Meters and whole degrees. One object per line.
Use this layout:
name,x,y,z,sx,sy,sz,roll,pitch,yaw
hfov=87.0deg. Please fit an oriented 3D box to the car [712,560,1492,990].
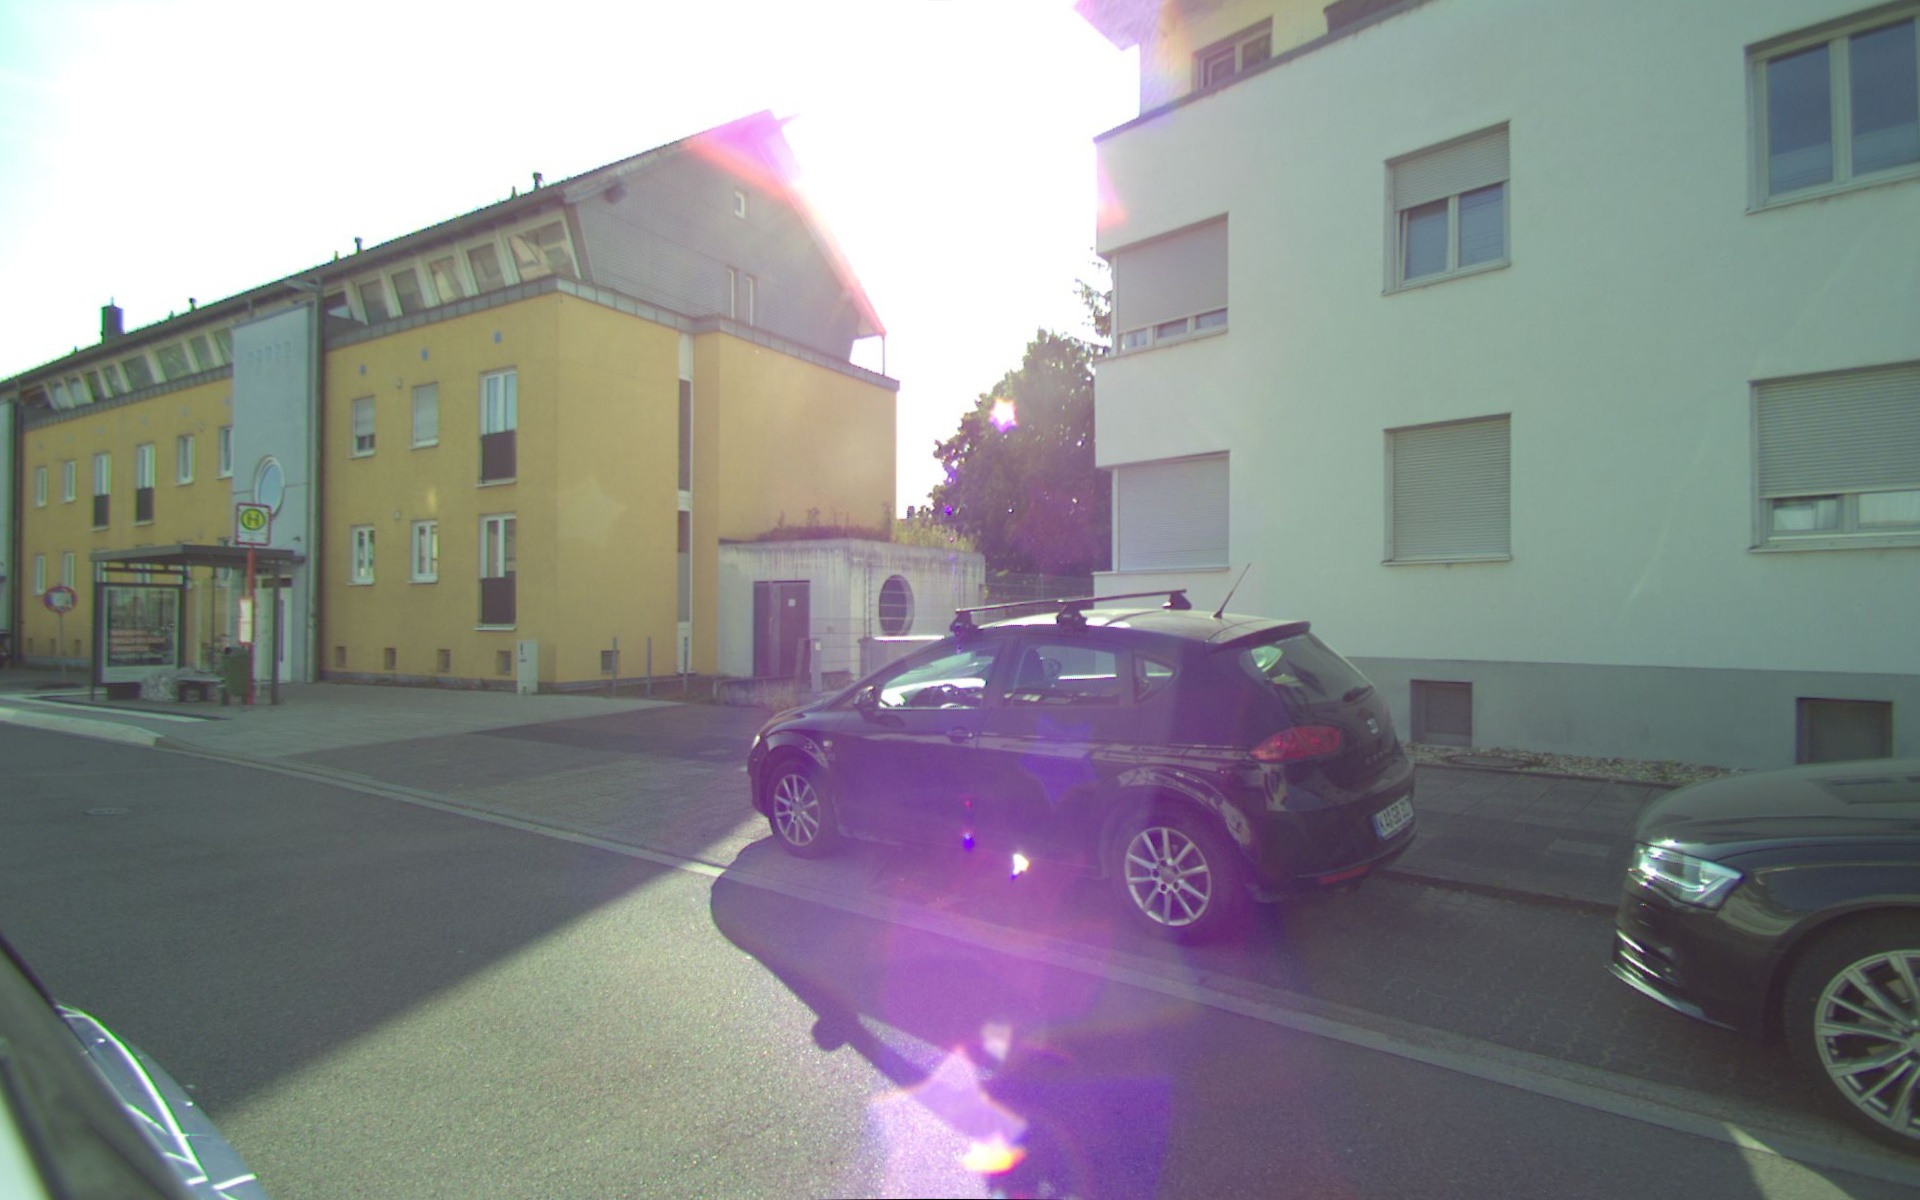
car,0.567,0.669,5.883,4.175,1.634,1.758,-1,1,40

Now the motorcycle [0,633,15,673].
motorcycle,-29.794,1.629,31.085,1.869,1.191,0.578,-1,0,28

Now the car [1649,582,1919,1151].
car,4.343,0.672,2.241,4.499,1.489,1.710,-1,0,40

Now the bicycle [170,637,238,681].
bicycle,-18.512,1.431,24.770,1.901,1.005,0.710,-1,0,33
